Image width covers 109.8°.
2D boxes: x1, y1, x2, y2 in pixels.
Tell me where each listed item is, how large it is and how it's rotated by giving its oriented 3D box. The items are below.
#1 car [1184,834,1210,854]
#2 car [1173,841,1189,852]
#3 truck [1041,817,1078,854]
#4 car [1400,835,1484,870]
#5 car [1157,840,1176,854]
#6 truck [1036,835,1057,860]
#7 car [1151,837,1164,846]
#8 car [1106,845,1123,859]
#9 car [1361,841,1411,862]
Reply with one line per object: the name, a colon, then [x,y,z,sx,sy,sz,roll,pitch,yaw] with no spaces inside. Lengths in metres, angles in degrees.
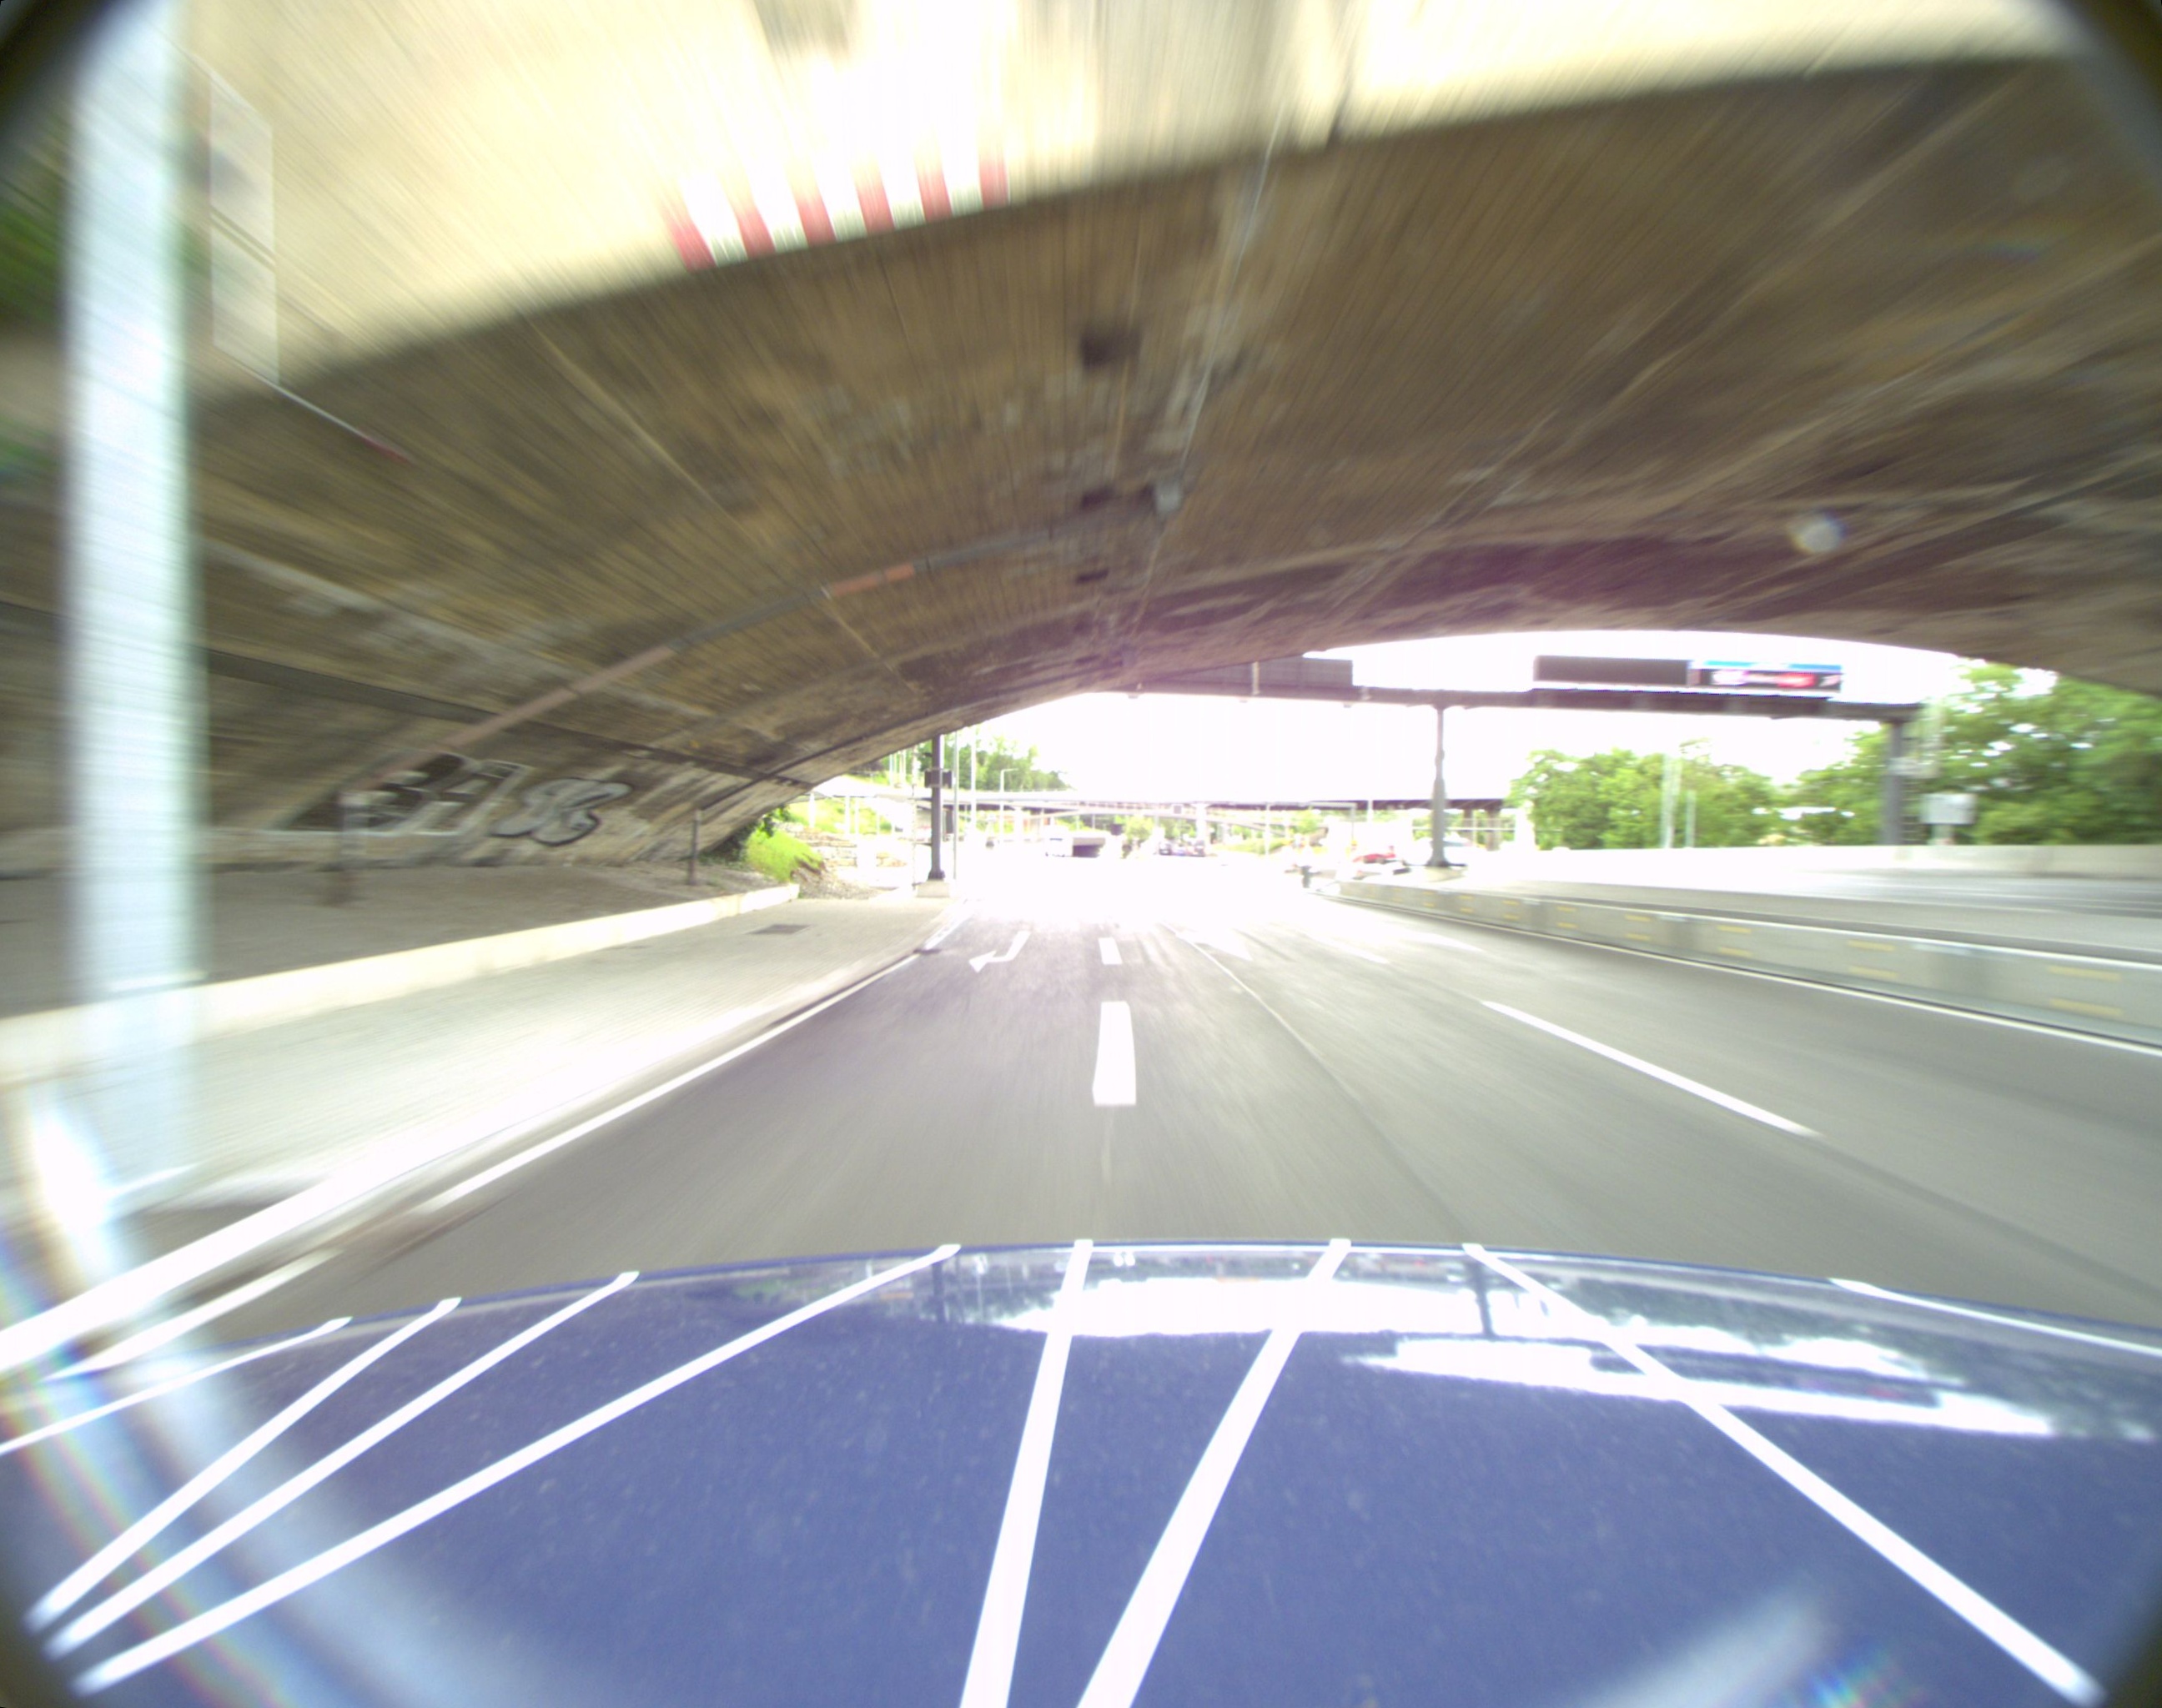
car: [15.435,-1.294,101.258,2.296,2.476,6.193,-1,1,-2]
car: [16.238,-1.225,123.529,1.999,1.805,3.999,-1,1,-2]
truck: [-2.401,-1.899,80.939,3.034,3.566,8.945,-3,0,-6]
car: [17.327,-0.080,36.727,1.842,1.528,4.399,-1,1,-2]
car: [12.296,-0.971,109.758,2.019,1.963,4.718,-1,1,-2]
truck: [-5.196,-0.922,112.000,2.575,3.548,9.109,-1,1,-6]
car: [12.357,-2.004,122.774,1.639,1.455,4.000,-3,0,1]
car: [4.561,-0.307,103.967,1.868,1.827,4.204,0,1,-3]
car: [23.149,-0.185,57.834,1.822,1.528,4.399,-1,1,-3]
